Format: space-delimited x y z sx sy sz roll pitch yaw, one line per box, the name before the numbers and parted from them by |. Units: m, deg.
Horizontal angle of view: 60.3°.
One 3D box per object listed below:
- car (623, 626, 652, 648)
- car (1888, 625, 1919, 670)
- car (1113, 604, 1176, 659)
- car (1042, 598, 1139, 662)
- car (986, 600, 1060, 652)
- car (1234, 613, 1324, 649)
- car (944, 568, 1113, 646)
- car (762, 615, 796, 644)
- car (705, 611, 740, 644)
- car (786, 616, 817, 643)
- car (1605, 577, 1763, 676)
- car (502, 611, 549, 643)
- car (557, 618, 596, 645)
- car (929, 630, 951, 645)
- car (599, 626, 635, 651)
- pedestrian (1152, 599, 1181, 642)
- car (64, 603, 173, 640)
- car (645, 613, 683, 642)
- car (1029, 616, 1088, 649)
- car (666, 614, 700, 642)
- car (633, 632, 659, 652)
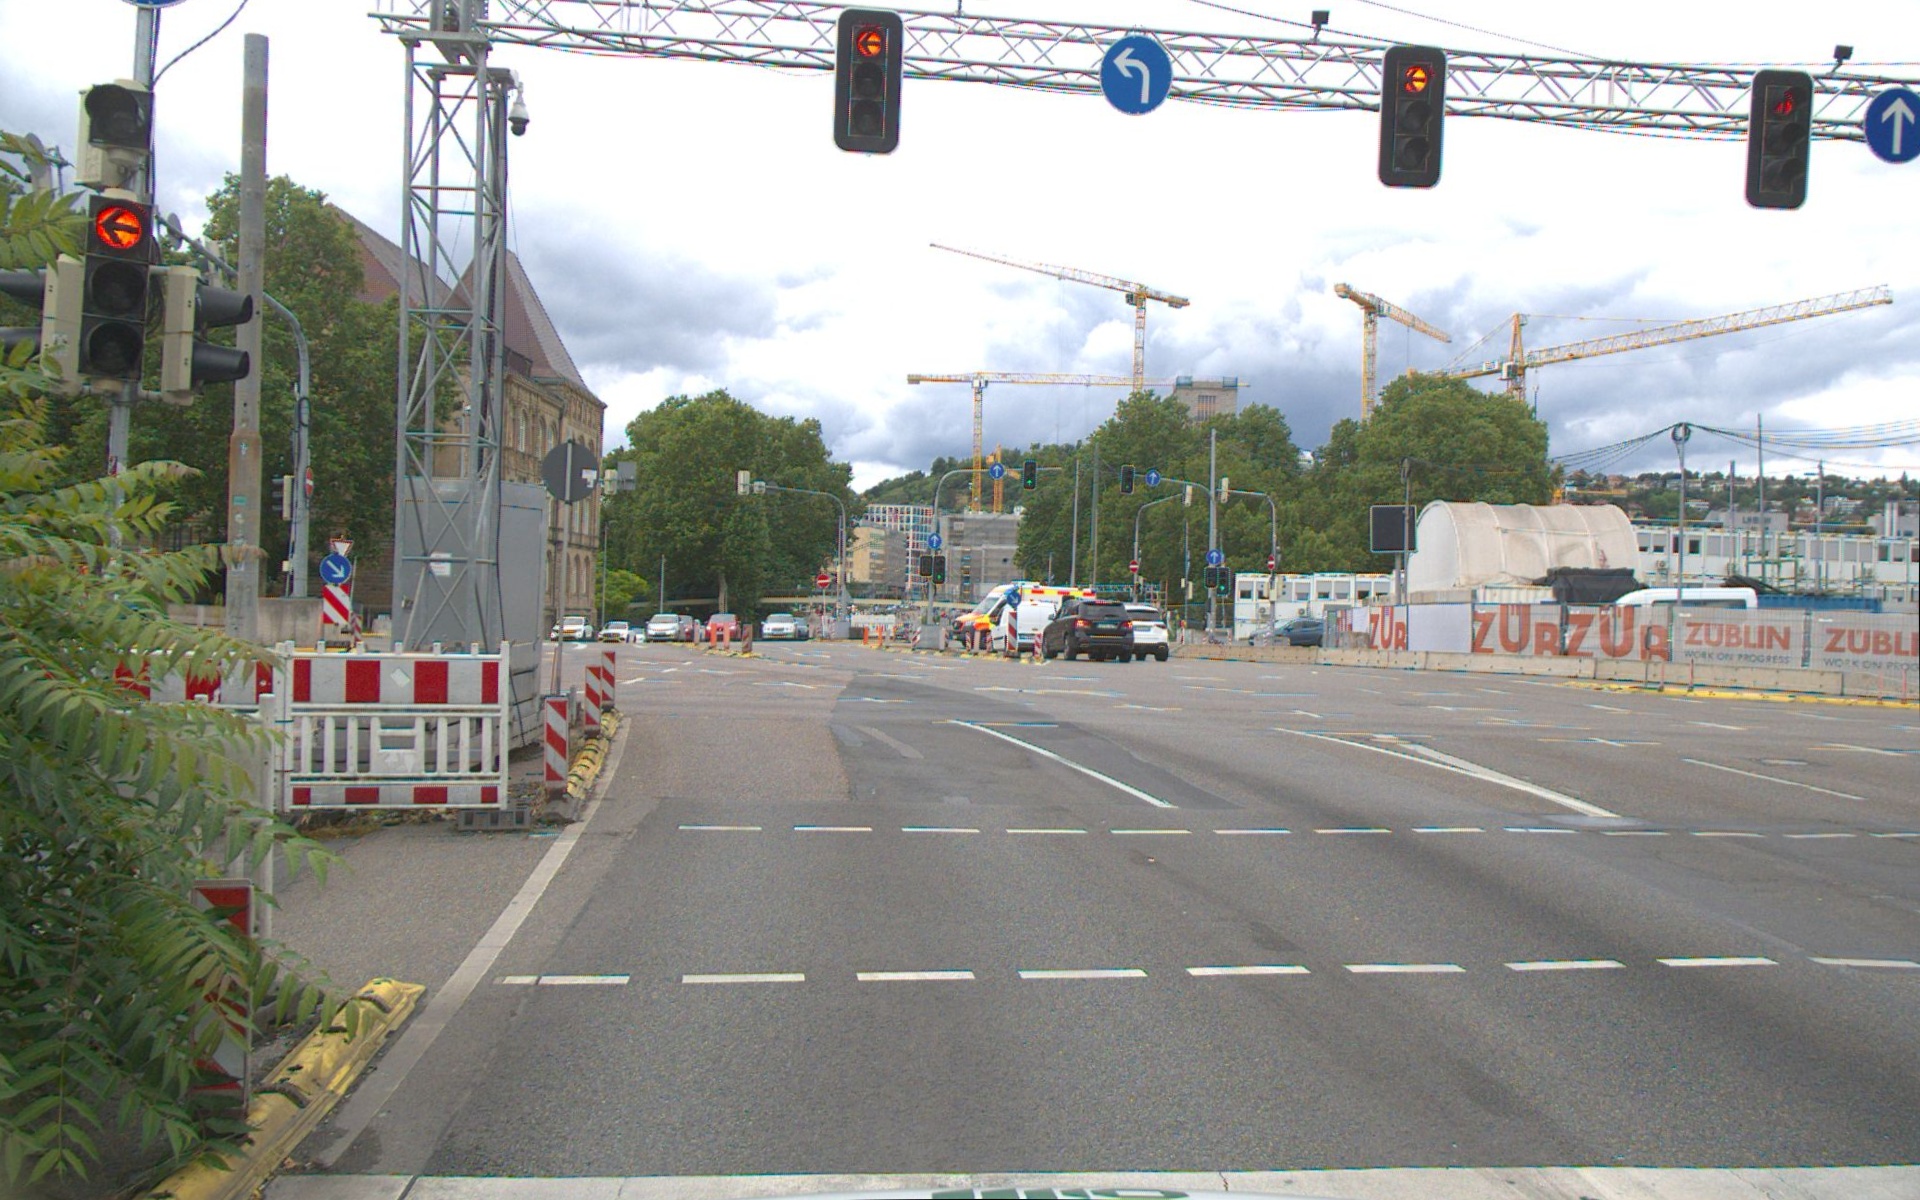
car | -22.439 2.567 115.149 1.644 1.422 3.677 1 0 -7
car | 34.804 1.717 59.679 1.641 1.554 4.001 1 0 20
car | 6.009 0.998 54.169 1.642 1.732 3.374 1 0 -1
car | 3.773 0.839 48.529 1.799 1.776 4.245 1 0 -10
car | 2.075 0.847 55.549 1.783 1.653 3.993 1 0 -8
car | 15.413 1.507 79.980 3.927 1.653 1.812 1 0 -20
car | 2.870 0.308 69.120 6.636 3.105 2.359 1 0 -19
car | -9.301 1.510 84.907 1.644 1.422 3.677 1 0 -7
car | -12.127 1.367 84.518 1.644 1.608 3.677 1 0 -7
car | -8.820 1.621 91.845 1.644 1.422 3.677 1 0 -7
car | 20.817 0.743 47.679 3.902 2.708 1.683 1 0 13
car | -20.647 1.269 78.627 1.644 1.422 3.677 1 0 -7
car | -21.044 1.721 90.845 1.644 1.422 3.677 1 0 -7
car | -1.646 3.044 134.141 1.284 1.093 3.676 1 0 -8
car | -21.780 2.426 105.088 1.643 1.422 3.681 2 0 -3
pedestrian | 9.949 0.986 79.760 1.075 2.049 1.181 1 0 -12
car | -32.973 0.848 64.835 3.639 1.422 1.661 1 0 -34
car | -15.259 1.409 85.379 1.644 1.422 3.677 1 0 -7
car | 4.508 1.497 76.038 1.650 1.422 3.070 1 0 -19
car | -15.298 1.534 91.538 1.644 1.422 3.677 1 0 -7
car | -23.608 3.160 124.598 1.644 1.422 3.677 1 0 -7
